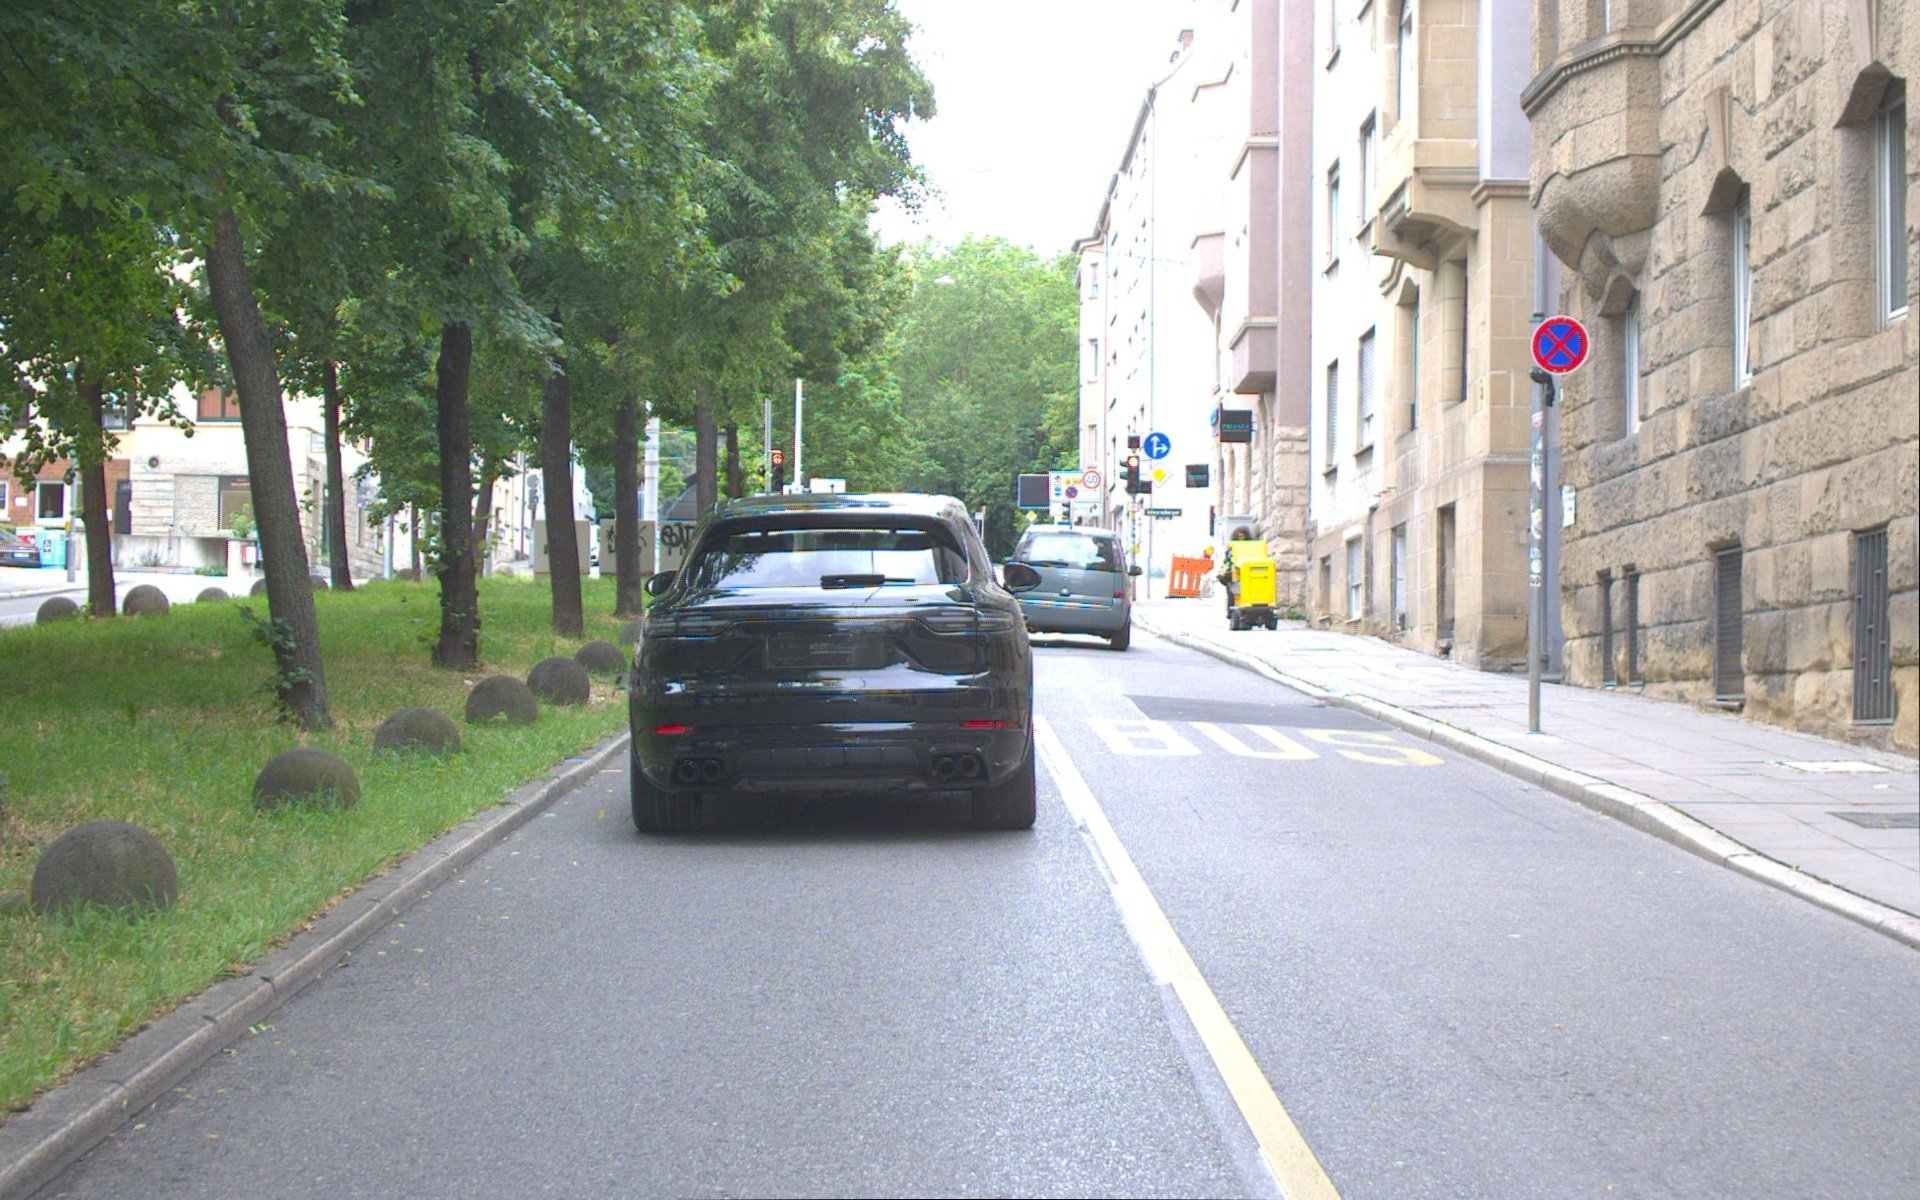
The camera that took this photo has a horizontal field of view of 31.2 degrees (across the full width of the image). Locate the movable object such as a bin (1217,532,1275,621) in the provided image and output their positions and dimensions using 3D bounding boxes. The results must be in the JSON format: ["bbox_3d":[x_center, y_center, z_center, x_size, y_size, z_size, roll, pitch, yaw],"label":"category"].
[{"bbox_3d":[4.613,-0.374,55.489,0.719,1.416,1.693,0,0,-2],"label":"movable object such as a bin"}]

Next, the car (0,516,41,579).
[{"bbox_3d":[-27.535,-1.442,95.060,3.994,1.660,1.879,0,-1,33],"label":"car"}]

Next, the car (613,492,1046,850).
[{"bbox_3d":[-0.593,0.289,17.900,1.994,1.647,4.000,0,1,0],"label":"car"}]

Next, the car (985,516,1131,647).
[{"bbox_3d":[1.275,-0.278,46.038,1.752,1.587,3.631,2,2,-1],"label":"car"}]
